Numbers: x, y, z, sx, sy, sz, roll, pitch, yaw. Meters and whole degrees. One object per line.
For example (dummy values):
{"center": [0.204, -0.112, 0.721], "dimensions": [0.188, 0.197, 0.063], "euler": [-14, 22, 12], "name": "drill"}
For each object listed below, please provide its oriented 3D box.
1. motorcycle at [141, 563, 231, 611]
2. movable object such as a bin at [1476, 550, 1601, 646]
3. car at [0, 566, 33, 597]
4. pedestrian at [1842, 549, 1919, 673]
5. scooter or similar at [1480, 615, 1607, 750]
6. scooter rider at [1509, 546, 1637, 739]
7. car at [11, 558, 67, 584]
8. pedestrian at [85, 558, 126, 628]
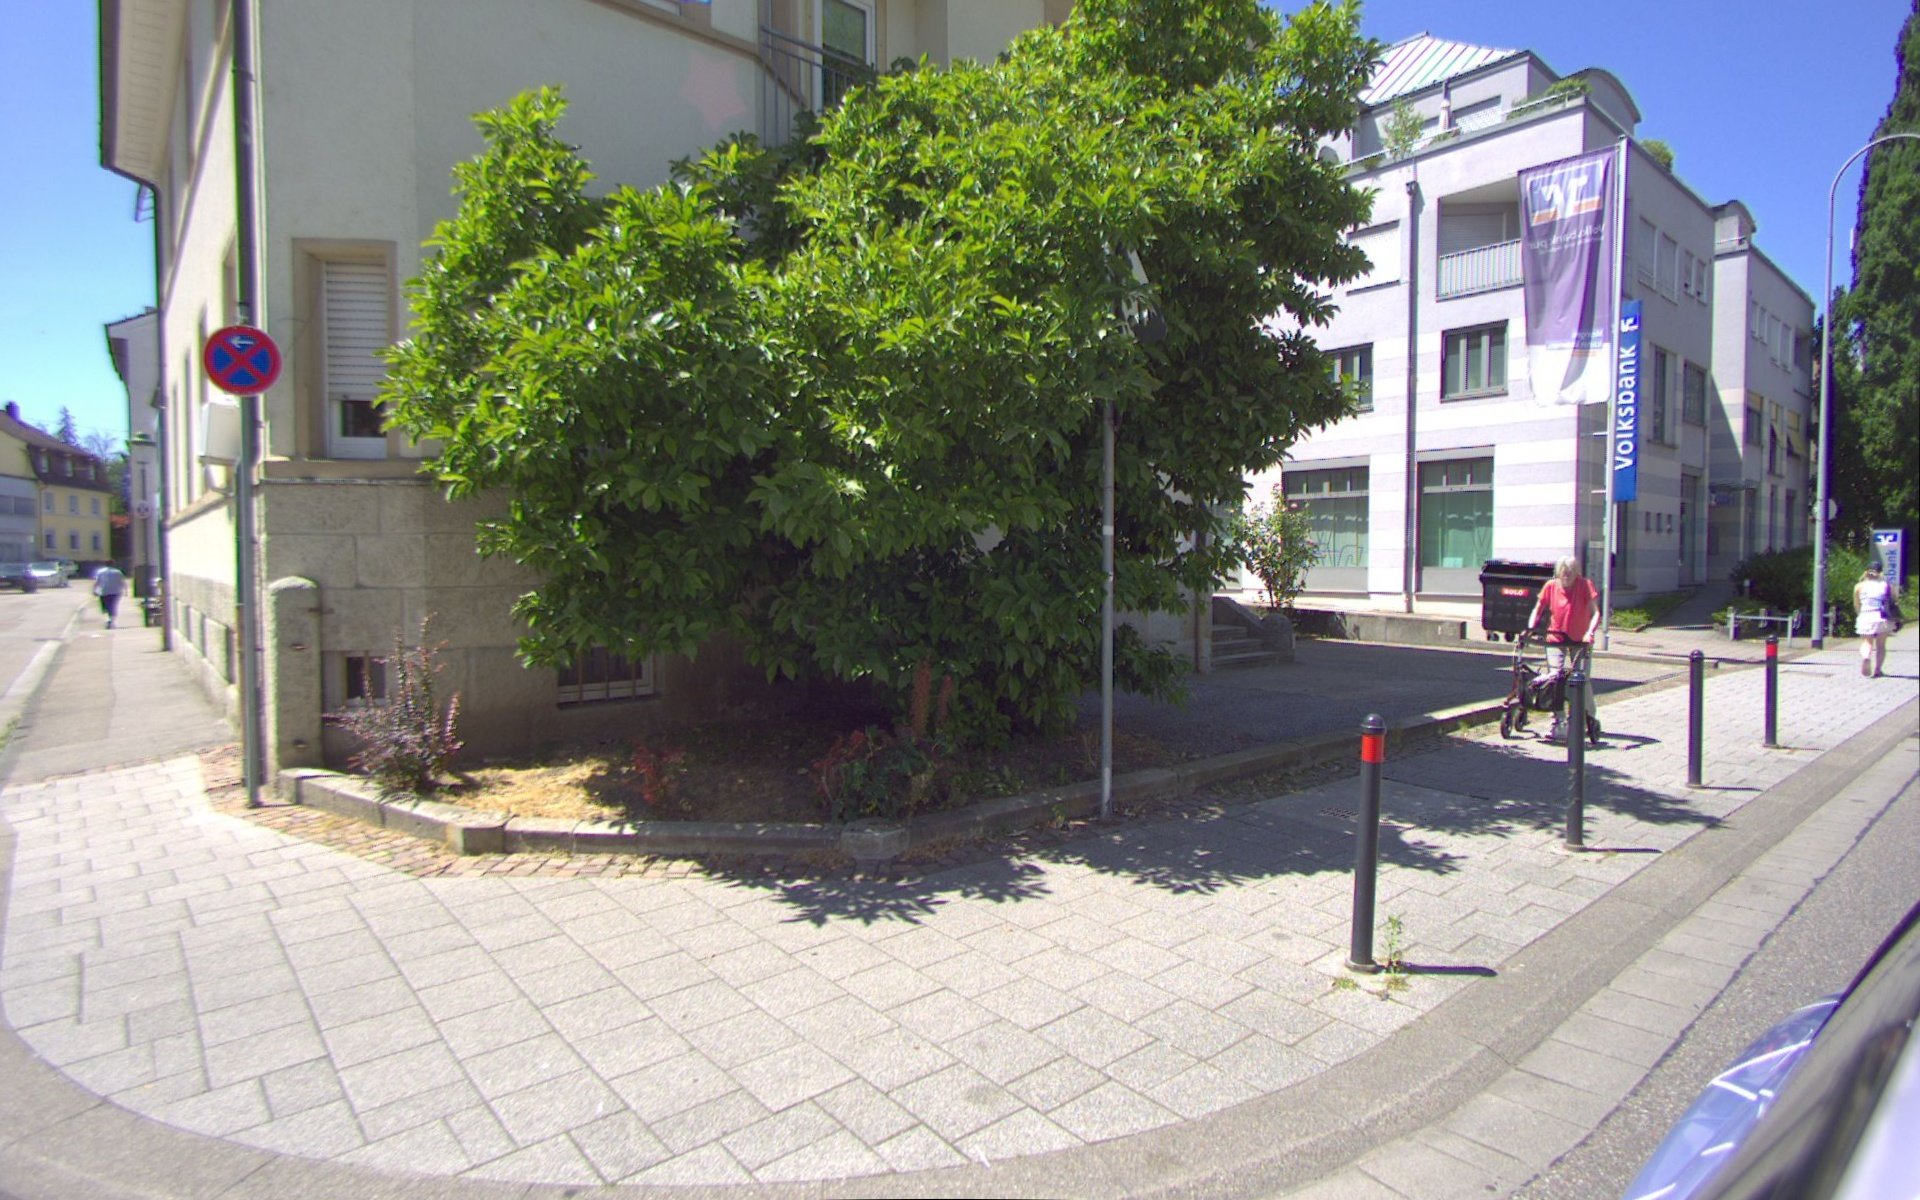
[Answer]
{"center": [-21.020, -0.362, 27.507], "dimensions": [0.734, 1.174, 1.776], "euler": [-1, 3, 43], "name": "motorcycle"}
{"center": [9.815, -0.080, 17.194], "dimensions": [1.356, 1.476, 1.372], "euler": [-2, 6, -39], "name": "movable object such as a bin"}
{"center": [-49.023, -0.958, 51.935], "dimensions": [1.789, 1.518, 3.885], "euler": [-1, 2, -38], "name": "car"}
{"center": [12.978, 0.128, 14.206], "dimensions": [0.770, 1.646, 0.701], "euler": [-2, 5, -41], "name": "pedestrian"}
{"center": [4.785, 0.646, 8.300], "dimensions": [0.741, 0.974, 0.665], "euler": [-1, 4, -41], "name": "scooter or similar"}
{"center": [5.301, 0.323, 8.755], "dimensions": [0.757, 1.567, 0.717], "euler": [-1, 3, -42], "name": "scooter rider"}
{"center": [-54.893, -1.743, 60.386], "dimensions": [1.819, 1.518, 4.072], "euler": [-1, 2, -33], "name": "car"}
{"center": [-20.328, -0.177, 24.078], "dimensions": [0.706, 1.647, 0.684], "euler": [-1, 2, -40], "name": "pedestrian"}
